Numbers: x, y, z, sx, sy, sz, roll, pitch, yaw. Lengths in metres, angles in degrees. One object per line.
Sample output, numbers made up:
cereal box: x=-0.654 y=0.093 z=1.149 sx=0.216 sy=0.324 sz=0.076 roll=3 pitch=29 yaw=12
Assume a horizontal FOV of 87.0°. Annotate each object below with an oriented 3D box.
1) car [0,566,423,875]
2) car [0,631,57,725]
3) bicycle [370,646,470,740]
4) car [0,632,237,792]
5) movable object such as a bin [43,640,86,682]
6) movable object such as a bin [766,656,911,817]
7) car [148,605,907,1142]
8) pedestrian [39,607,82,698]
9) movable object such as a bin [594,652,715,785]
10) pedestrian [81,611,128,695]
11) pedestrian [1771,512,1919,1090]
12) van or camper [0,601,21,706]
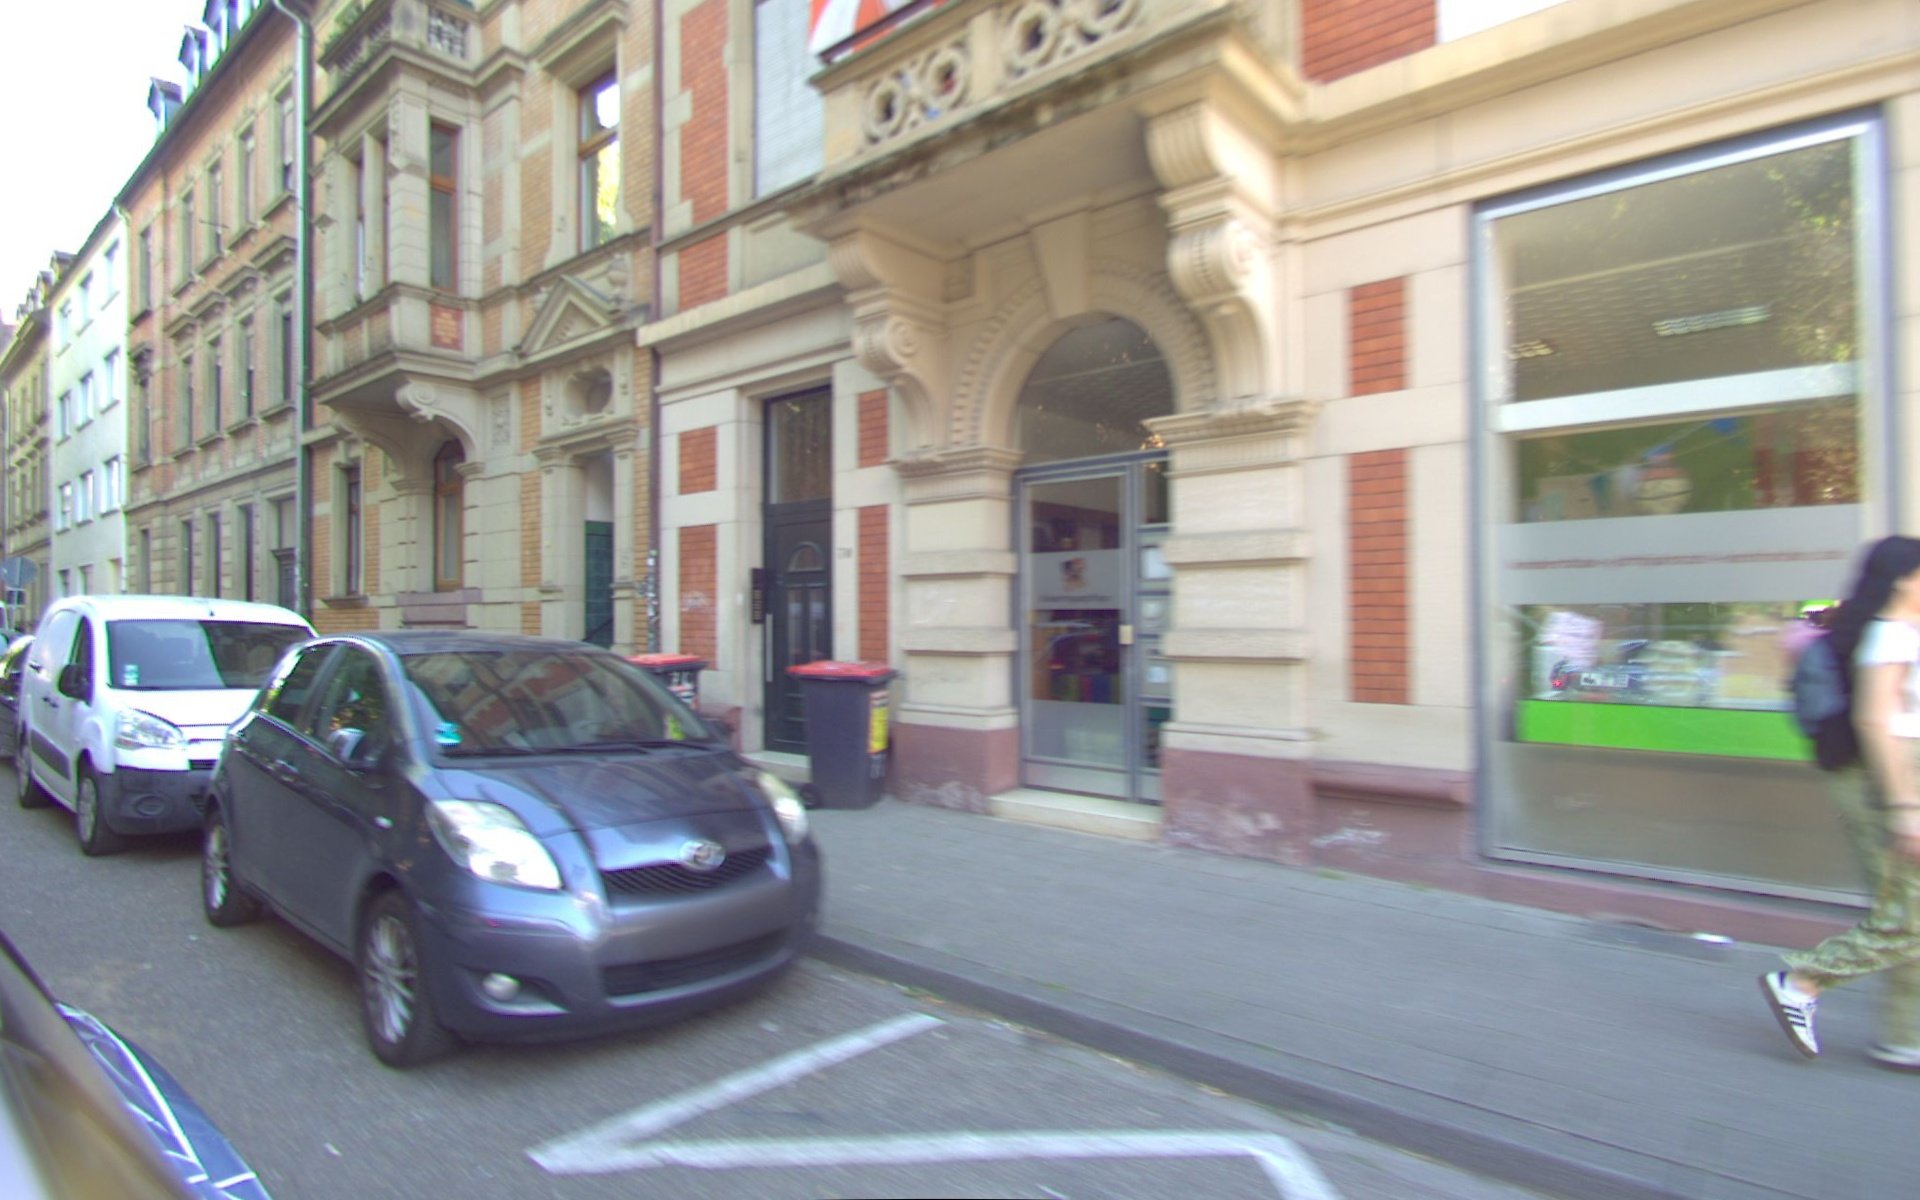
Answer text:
car: x=-6.273 y=0.803 z=8.208 sx=4.569 sy=1.825 sz=1.812 roll=-2 pitch=-4 yaw=41
car: x=-17.452 y=1.314 z=17.775 sx=4.190 sy=1.526 sz=1.748 roll=-2 pitch=-4 yaw=40
bicycle: x=-6.758 y=1.128 z=12.636 sx=1.545 sy=1.049 sz=0.565 roll=-1 pitch=0 yaw=41
car: x=-9.961 y=1.146 z=11.566 sx=3.967 sy=1.526 sz=1.676 roll=-2 pitch=-4 yaw=38
movable object such as a bin: x=-24.717 y=1.683 z=27.929 sx=0.675 sy=1.096 sz=0.827 roll=0 pitch=-1 yaw=44
movable object such as a bin: x=-0.898 y=0.969 z=7.469 sx=0.856 sy=1.049 sz=0.631 roll=-2 pitch=0 yaw=41
car: x=-2.270 y=0.842 z=4.779 sx=3.970 sy=1.492 sz=1.675 roll=-2 pitch=-4 yaw=40
pedestrian: x=-19.329 y=1.111 z=21.745 sx=0.904 sy=1.897 sz=0.573 roll=0 pitch=0 yaw=41
movable object such as a bin: x=-2.700 y=1.012 z=8.936 sx=0.856 sy=1.049 sz=0.631 roll=-2 pitch=0 yaw=41
pedestrian: x=-18.851 y=1.149 z=22.302 sx=0.649 sy=1.785 sz=0.694 roll=0 pitch=0 yaw=41
pedestrian: x=2.953 y=0.576 z=3.087 sx=0.717 sy=1.656 sz=0.542 roll=1 pitch=1 yaw=41
van or camper: x=-22.179 y=1.122 z=21.952 sx=5.153 sy=2.164 sz=2.153 roll=-2 pitch=-4 yaw=42
